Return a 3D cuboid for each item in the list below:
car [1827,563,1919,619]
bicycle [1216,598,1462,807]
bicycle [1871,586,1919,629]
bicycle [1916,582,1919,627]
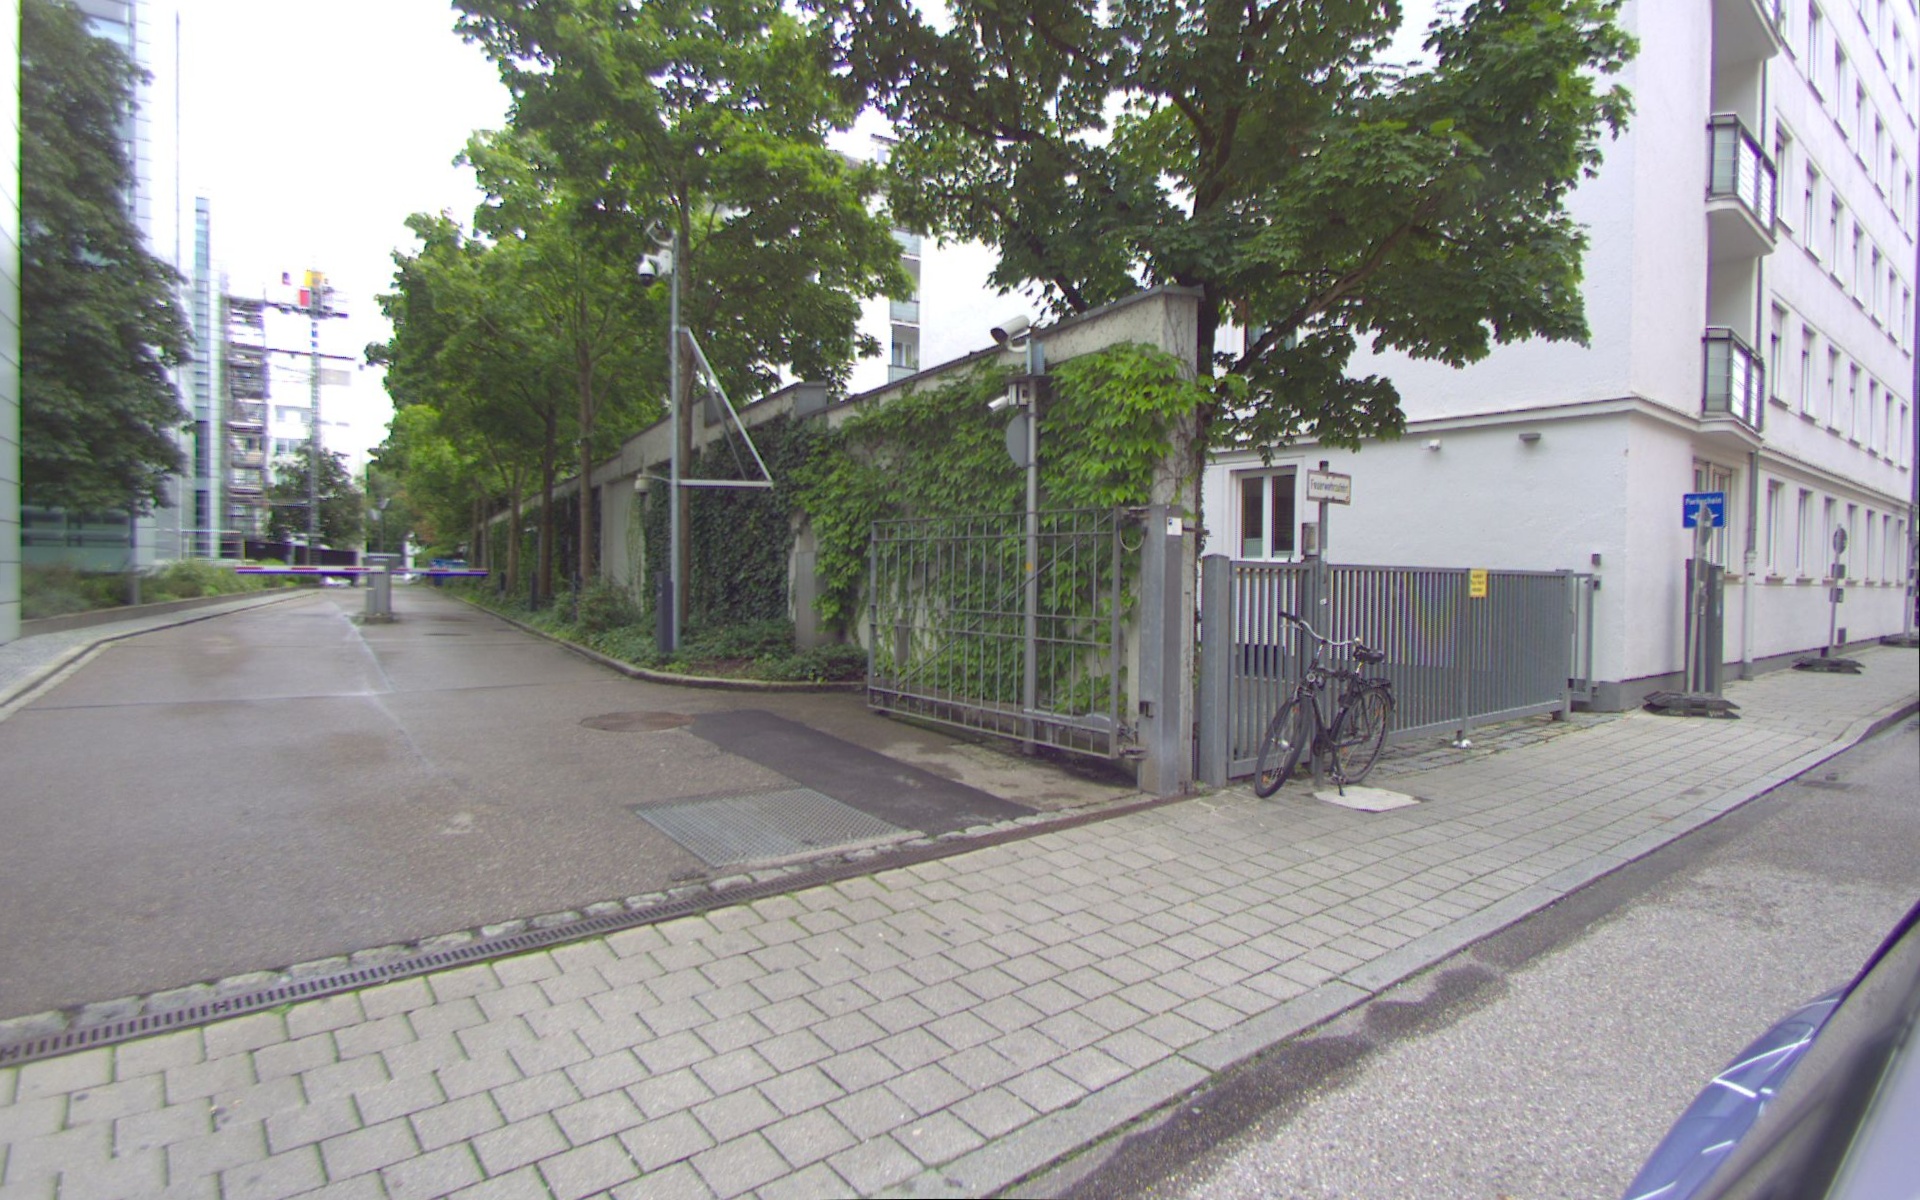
[{"bbox_3d":[34.047,-0.314,35.851,1.895,1.914,4.688,0,2,-31],"label":"car"},{"bbox_3d":[2.590,0.641,6.822,1.800,1.213,0.709,3,-1,-39],"label":"bicycle"},{"bbox_3d":[24.881,0.209,26.438,1.490,1.056,0.394,4,4,33],"label":"bicycle"},{"bbox_3d":[26.471,0.164,27.360,0.395,1.219,1.493,3,4,25],"label":"bicycle"}]
